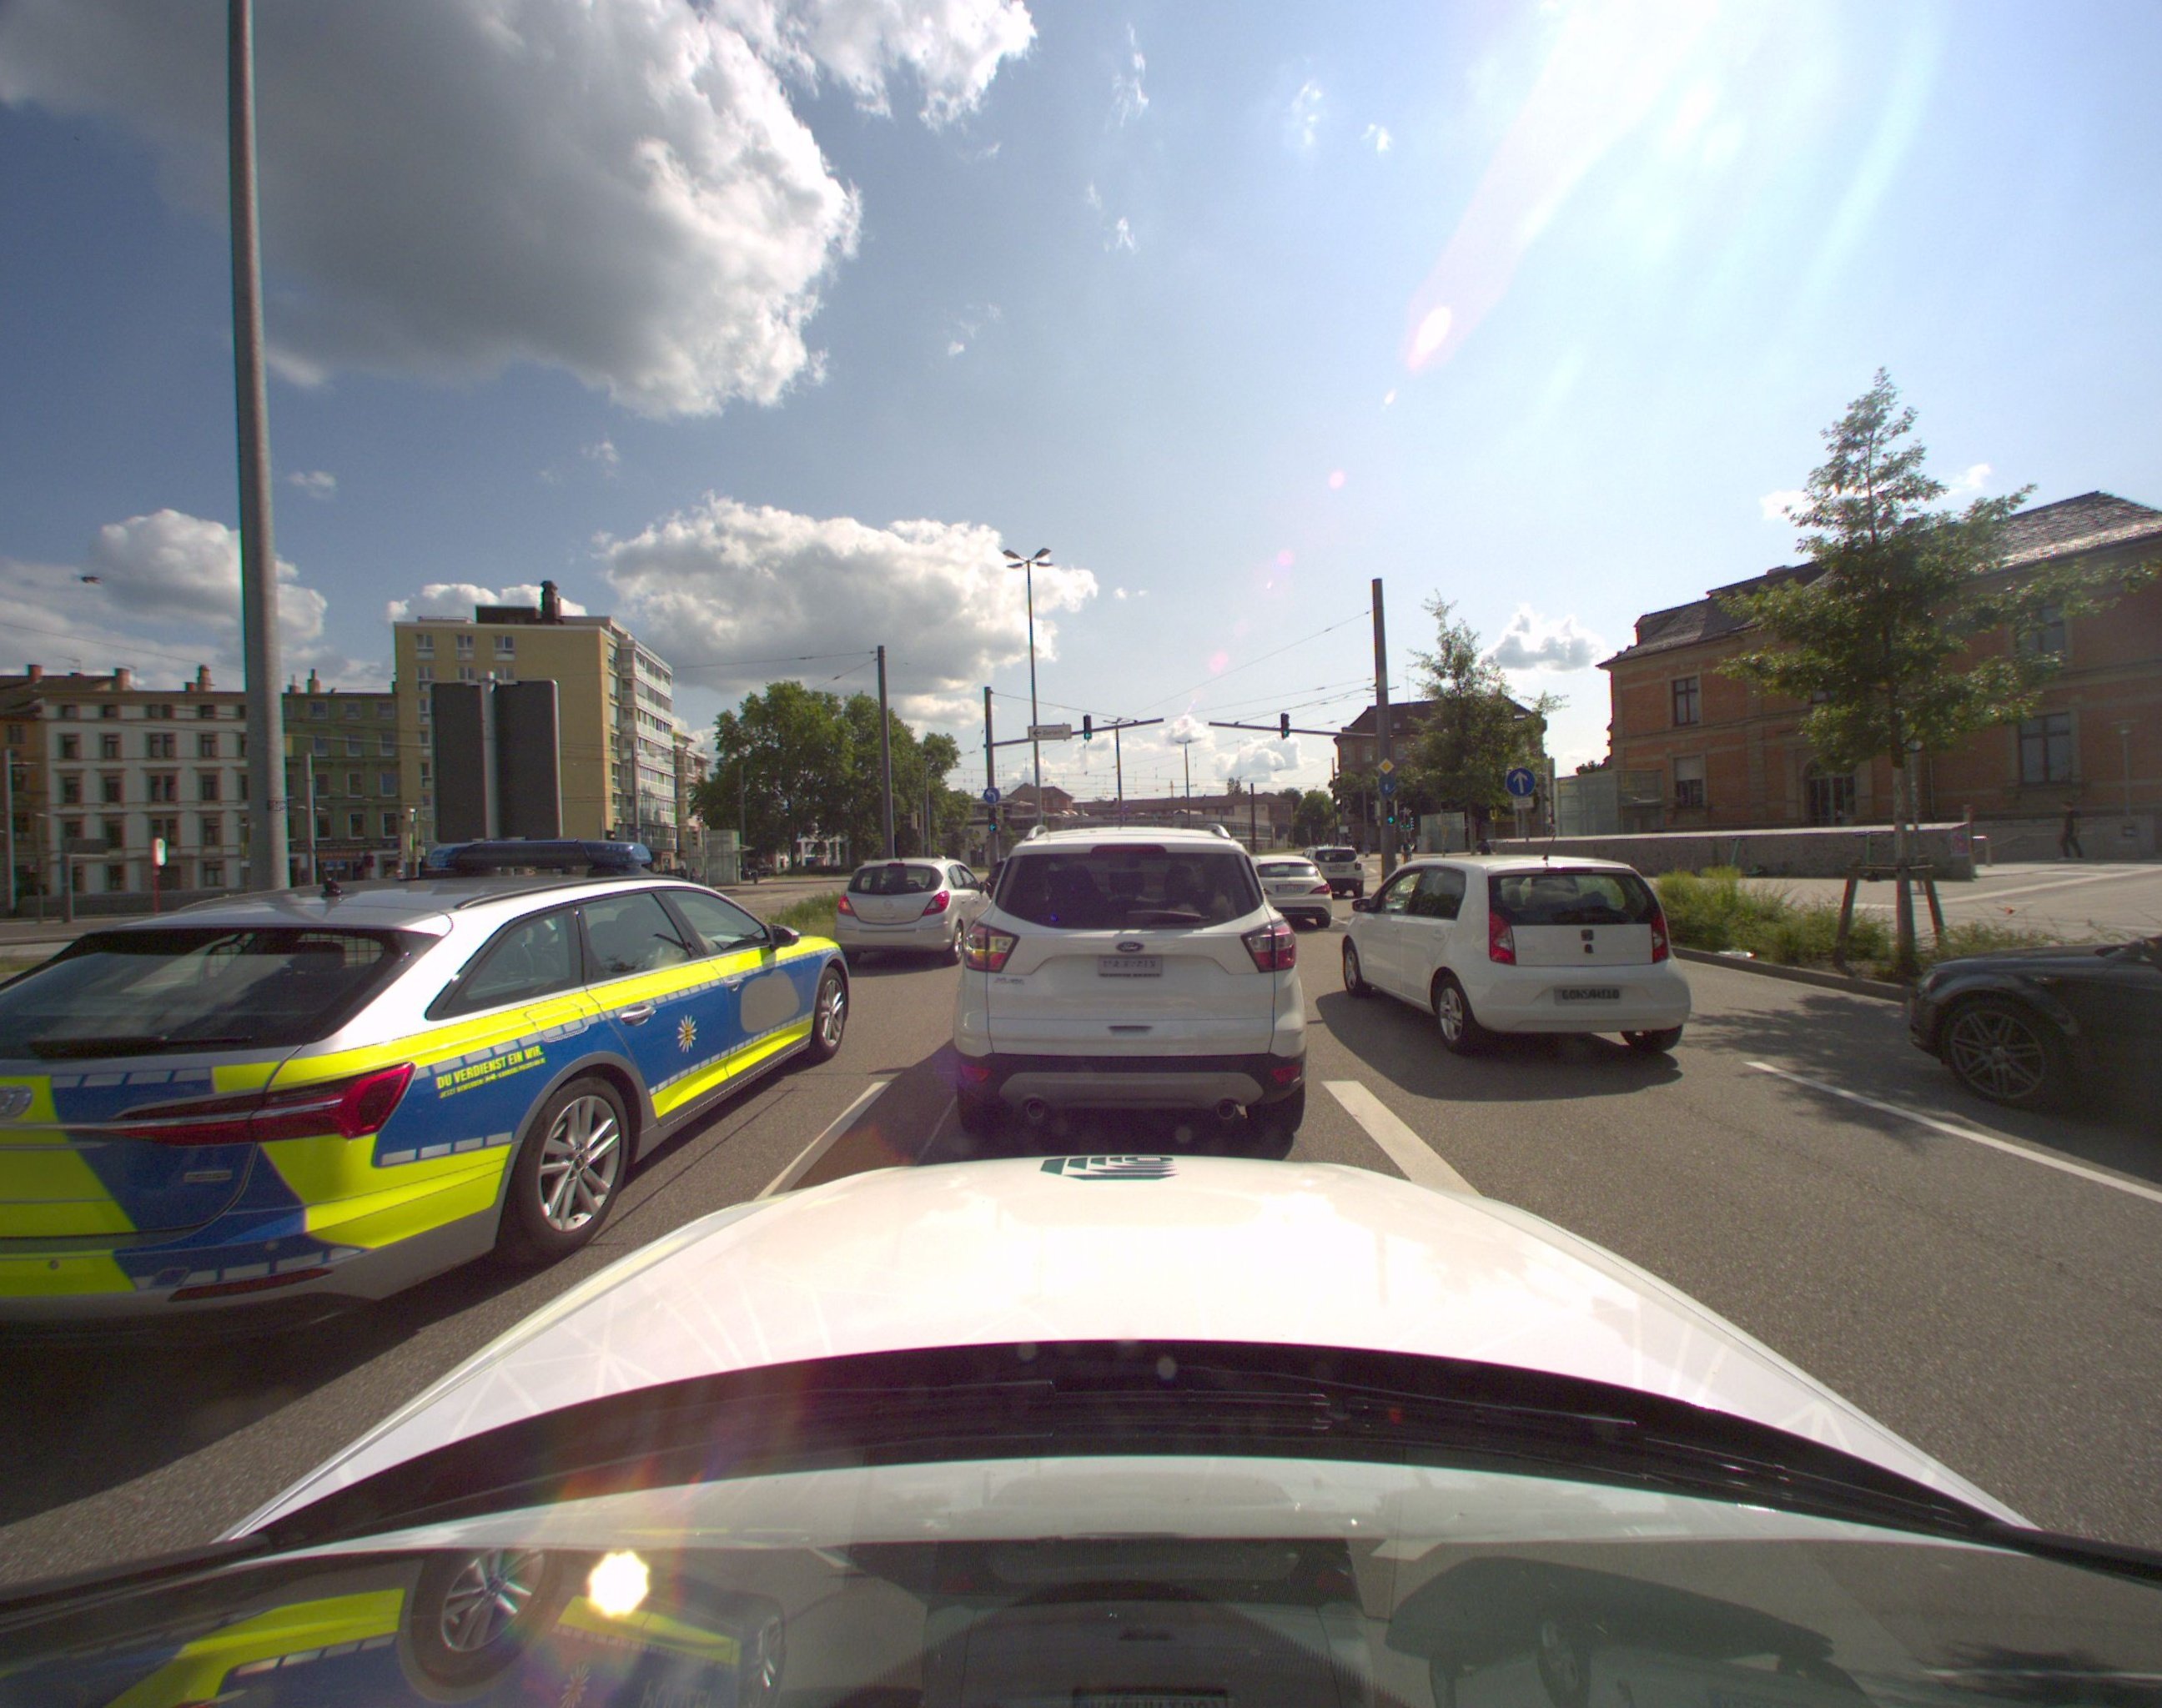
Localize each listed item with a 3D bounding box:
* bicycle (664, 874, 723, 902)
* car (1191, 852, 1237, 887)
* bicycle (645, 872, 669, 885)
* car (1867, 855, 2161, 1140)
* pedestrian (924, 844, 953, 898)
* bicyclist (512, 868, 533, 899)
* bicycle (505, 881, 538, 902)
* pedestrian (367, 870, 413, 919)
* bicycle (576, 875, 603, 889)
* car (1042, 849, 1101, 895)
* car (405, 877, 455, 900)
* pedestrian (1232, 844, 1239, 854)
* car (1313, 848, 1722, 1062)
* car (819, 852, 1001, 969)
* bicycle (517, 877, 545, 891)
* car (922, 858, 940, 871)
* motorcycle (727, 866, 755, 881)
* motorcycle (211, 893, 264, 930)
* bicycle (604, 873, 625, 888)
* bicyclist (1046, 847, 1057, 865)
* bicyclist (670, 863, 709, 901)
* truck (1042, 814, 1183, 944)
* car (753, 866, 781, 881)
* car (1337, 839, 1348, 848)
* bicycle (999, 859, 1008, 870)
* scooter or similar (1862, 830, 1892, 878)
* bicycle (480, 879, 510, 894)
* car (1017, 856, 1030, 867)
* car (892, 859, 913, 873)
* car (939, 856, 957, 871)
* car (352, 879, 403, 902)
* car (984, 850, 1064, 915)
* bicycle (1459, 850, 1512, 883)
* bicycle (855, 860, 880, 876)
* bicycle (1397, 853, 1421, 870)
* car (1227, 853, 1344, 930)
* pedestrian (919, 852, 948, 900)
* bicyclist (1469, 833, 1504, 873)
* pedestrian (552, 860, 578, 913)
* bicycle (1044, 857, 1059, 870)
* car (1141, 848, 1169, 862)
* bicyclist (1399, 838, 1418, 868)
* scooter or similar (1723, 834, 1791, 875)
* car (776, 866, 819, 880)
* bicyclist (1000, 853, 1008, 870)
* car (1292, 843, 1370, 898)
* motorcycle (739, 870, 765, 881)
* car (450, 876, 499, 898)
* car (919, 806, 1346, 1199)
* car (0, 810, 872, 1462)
[{"bbox_3d":[-18.560,1.603,39.064,2.286,1.188,0.994,-3,-1,-1],"label":"bicycle"},{"bbox_3d":[5.793,0.643,35.754,1.840,1.419,3.686,-1,0,7],"label":"car"},{"bbox_3d":[-38.351,2.222,73.710,1.808,1.147,0.792,-2,0,-17],"label":"bicycle"},{"bbox_3d":[6.074,0.702,3.391,1.693,1.372,4.133,0,0,1],"label":"car"},{"bbox_3d":[-5.249,0.625,30.027,0.844,1.917,0.693,-3,-1,1],"label":"pedestrian"},{"bbox_3d":[-32.419,1.705,47.278,0.779,1.797,0.706,0,-1,-16],"label":"bicyclist"},{"bbox_3d":[-32.406,2.178,47.226,0.889,1.138,2.344,0,-1,-17],"label":"bicycle"},{"bbox_3d":[-25.798,1.502,30.420,0.761,1.797,1.030,0,-1,5],"label":"pedestrian"},{"bbox_3d":[-42.391,2.401,70.223,1.808,1.104,0.792,-2,0,-18],"label":"bicycle"},{"bbox_3d":[-0.331,0.638,30.919,2.033,1.578,4.538,-1,0,0],"label":"car"},{"bbox_3d":[-48.048,2.540,60.111,3.849,1.496,1.912,-3,-2,35],"label":"car"},{"bbox_3d":[27.325,-0.862,144.127,0.866,1.737,0.882,-1,-1,37],"label":"pedestrian"},{"bbox_3d":[3.544,0.680,7.545,1.644,1.422,3.999,-1,0,0],"label":"car"},{"bbox_3d":[-2.450,0.753,12.722,1.841,1.474,4.002,-2,0,2],"label":"car"},{"bbox_3d":[-46.801,2.516,69.320,1.808,1.104,0.792,-2,0,-18],"label":"bicycle"},{"bbox_3d":[-22.922,1.640,124.651,1.963,1.937,4.227,-4,-1,-2],"label":"car"},{"bbox_3d":[-30.454,1.786,72.898,2.193,1.238,0.910,-2,1,19],"label":"motorcycle"},{"bbox_3d":[-30.646,2.077,29.596,1.436,1.236,0.484,-3,-1,3],"label":"motorcycle"},{"bbox_3d":[-41.313,2.310,72.092,0.792,1.258,1.808,-2,0,-2],"label":"bicycle"},{"bbox_3d":[-2.916,0.196,80.594,0.753,1.683,0.764,-3,0,16],"label":"bicyclist"},{"bbox_3d":[-18.770,1.318,39.083,1.293,1.731,0.994,-3,-1,-1],"label":"bicyclist"},{"bbox_3d":[0.779,0.415,16.446,2.327,2.155,5.860,0,0,5],"label":"truck"},{"bbox_3d":[-32.479,2.042,84.399,1.905,1.413,3.986,-3,-1,-10],"label":"car"},{"bbox_3d":[53.974,-2.191,168.024,1.820,1.652,4.021,-2,-1,22],"label":"car"},{"bbox_3d":[-8.233,1.110,86.717,0.639,1.125,1.774,-2,0,-17],"label":"bicycle"},{"bbox_3d":[19.696,-0.006,20.144,1.326,1.104,0.460,-4,0,-44],"label":"scooter or similar"},{"bbox_3d":[-49.375,2.744,68.642,1.808,1.104,0.792,-2,0,-18],"label":"bicycle"},{"bbox_3d":[-8.621,1.084,122.405,1.814,1.534,3.913,-4,-1,-2],"label":"car"},{"bbox_3d":[-27.527,1.879,125.880,1.960,1.937,5.070,-4,-1,1],"label":"car"},{"bbox_3d":[-20.288,1.450,124.333,1.989,2.014,4.227,-4,-1,-2],"label":"car"},{"bbox_3d":[-51.468,2.676,59.556,3.849,1.496,1.912,-3,-2,35],"label":"car"},{"bbox_3d":[-1.443,0.699,22.327,1.756,1.568,4.528,-2,0,1],"label":"car"},{"bbox_3d":[12.983,0.378,26.176,0.842,0.970,1.964,-5,0,6],"label":"bicycle"},{"bbox_3d":[-19.790,1.323,75.576,2.171,1.414,0.808,-1,0,-14],"label":"bicycle"},{"bbox_3d":[16.367,0.364,40.666,0.582,0.775,1.623,-2,0,4],"label":"bicycle"},{"bbox_3d":[4.172,0.708,17.138,1.841,1.419,3.684,-1,0,5],"label":"car"},{"bbox_3d":[-5.287,0.792,29.176,0.844,1.648,0.693,-3,-1,1],"label":"pedestrian"},{"bbox_3d":[12.959,-0.024,26.026,0.632,1.220,0.925,-4,0,5],"label":"bicyclist"},{"bbox_3d":[-19.083,1.180,30.153,0.770,1.903,0.819,0,-1,-30],"label":"pedestrian"},{"bbox_3d":[-2.893,0.956,80.540,0.753,1.192,2.160,-3,0,16],"label":"bicycle"},{"bbox_3d":[8.542,0.069,93.677,1.882,1.461,3.991,-3,0,24],"label":"car"},{"bbox_3d":[16.339,-0.046,40.633,0.605,1.451,0.775,-2,0,3],"label":"bicyclist"},{"bbox_3d":[19.399,0.019,23.399,0.466,1.118,1.438,-3,0,-18],"label":"scooter or similar"},{"bbox_3d":[-30.437,2.009,87.493,3.975,1.327,1.632,-3,-1,-1],"label":"car"},{"bbox_3d":[-8.207,0.765,86.605,0.639,1.738,0.658,-1,0,-18],"label":"bicyclist"},{"bbox_3d":[8.227,0.524,27.133,1.826,1.652,4.009,-1,-1,8],"label":"car"},{"bbox_3d":[-31.406,2.016,77.767,0.801,0.917,2.057,-2,1,39],"label":"motorcycle"},{"bbox_3d":[-45.961,2.486,61.675,3.849,1.496,1.912,-3,-2,36],"label":"car"},{"bbox_3d":[0.395,0.648,5.497,1.818,1.664,3.961,-1,0,5],"label":"car"},{"bbox_3d":[-2.729,0.708,4.307,1.873,1.568,4.617,-2,0,2],"label":"car"}]
